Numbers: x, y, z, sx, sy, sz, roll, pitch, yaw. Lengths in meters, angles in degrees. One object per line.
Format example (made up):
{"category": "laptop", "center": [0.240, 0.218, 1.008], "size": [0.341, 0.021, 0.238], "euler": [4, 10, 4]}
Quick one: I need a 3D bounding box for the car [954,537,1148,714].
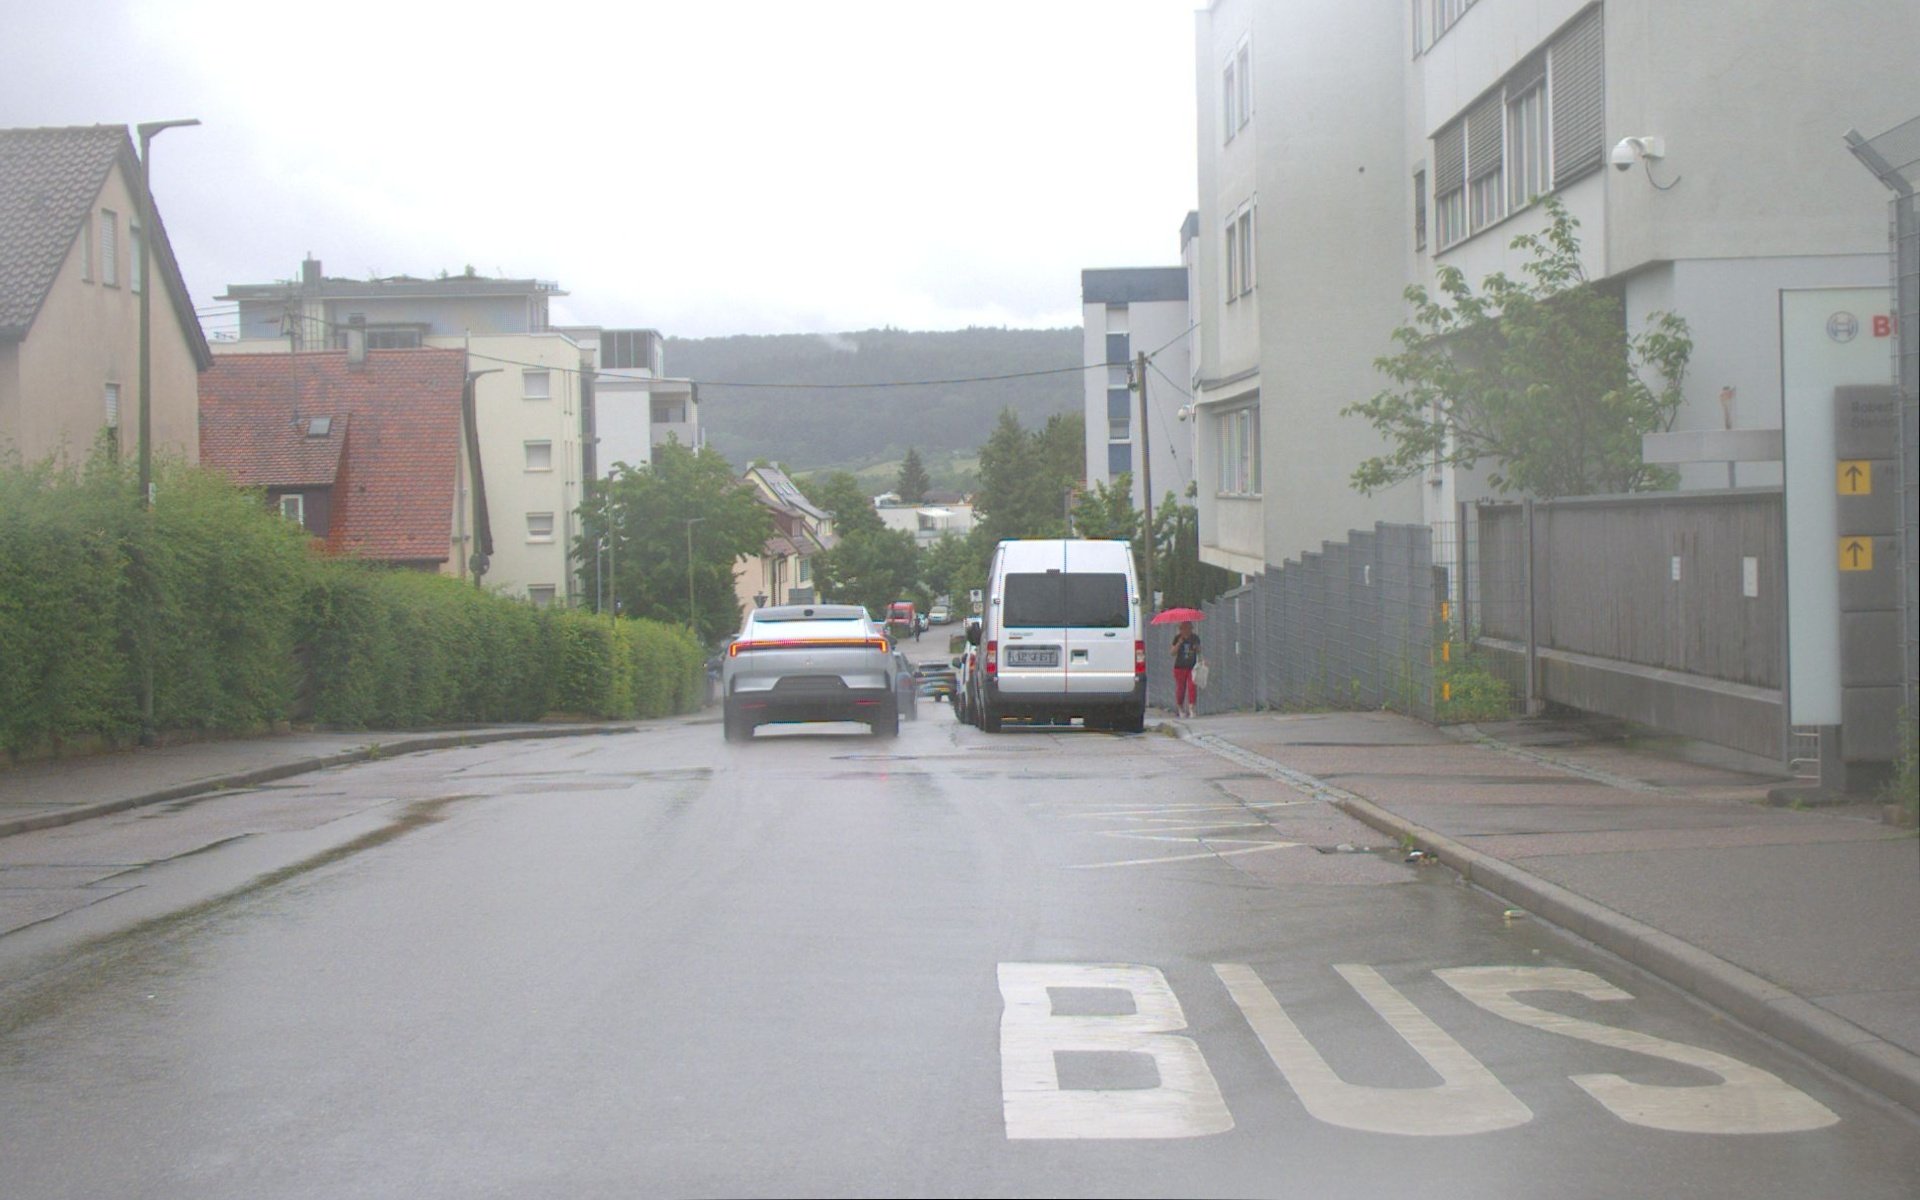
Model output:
{"category": "car", "center": [1.070, 0.324, 42.490], "size": [1.993, 2.007, 4.000], "euler": [-2, -1, -3]}

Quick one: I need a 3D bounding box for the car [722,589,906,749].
{"category": "car", "center": [-1.749, 0.750, 40.141], "size": [1.993, 1.497, 4.671], "euler": [-1, 3, -4]}
